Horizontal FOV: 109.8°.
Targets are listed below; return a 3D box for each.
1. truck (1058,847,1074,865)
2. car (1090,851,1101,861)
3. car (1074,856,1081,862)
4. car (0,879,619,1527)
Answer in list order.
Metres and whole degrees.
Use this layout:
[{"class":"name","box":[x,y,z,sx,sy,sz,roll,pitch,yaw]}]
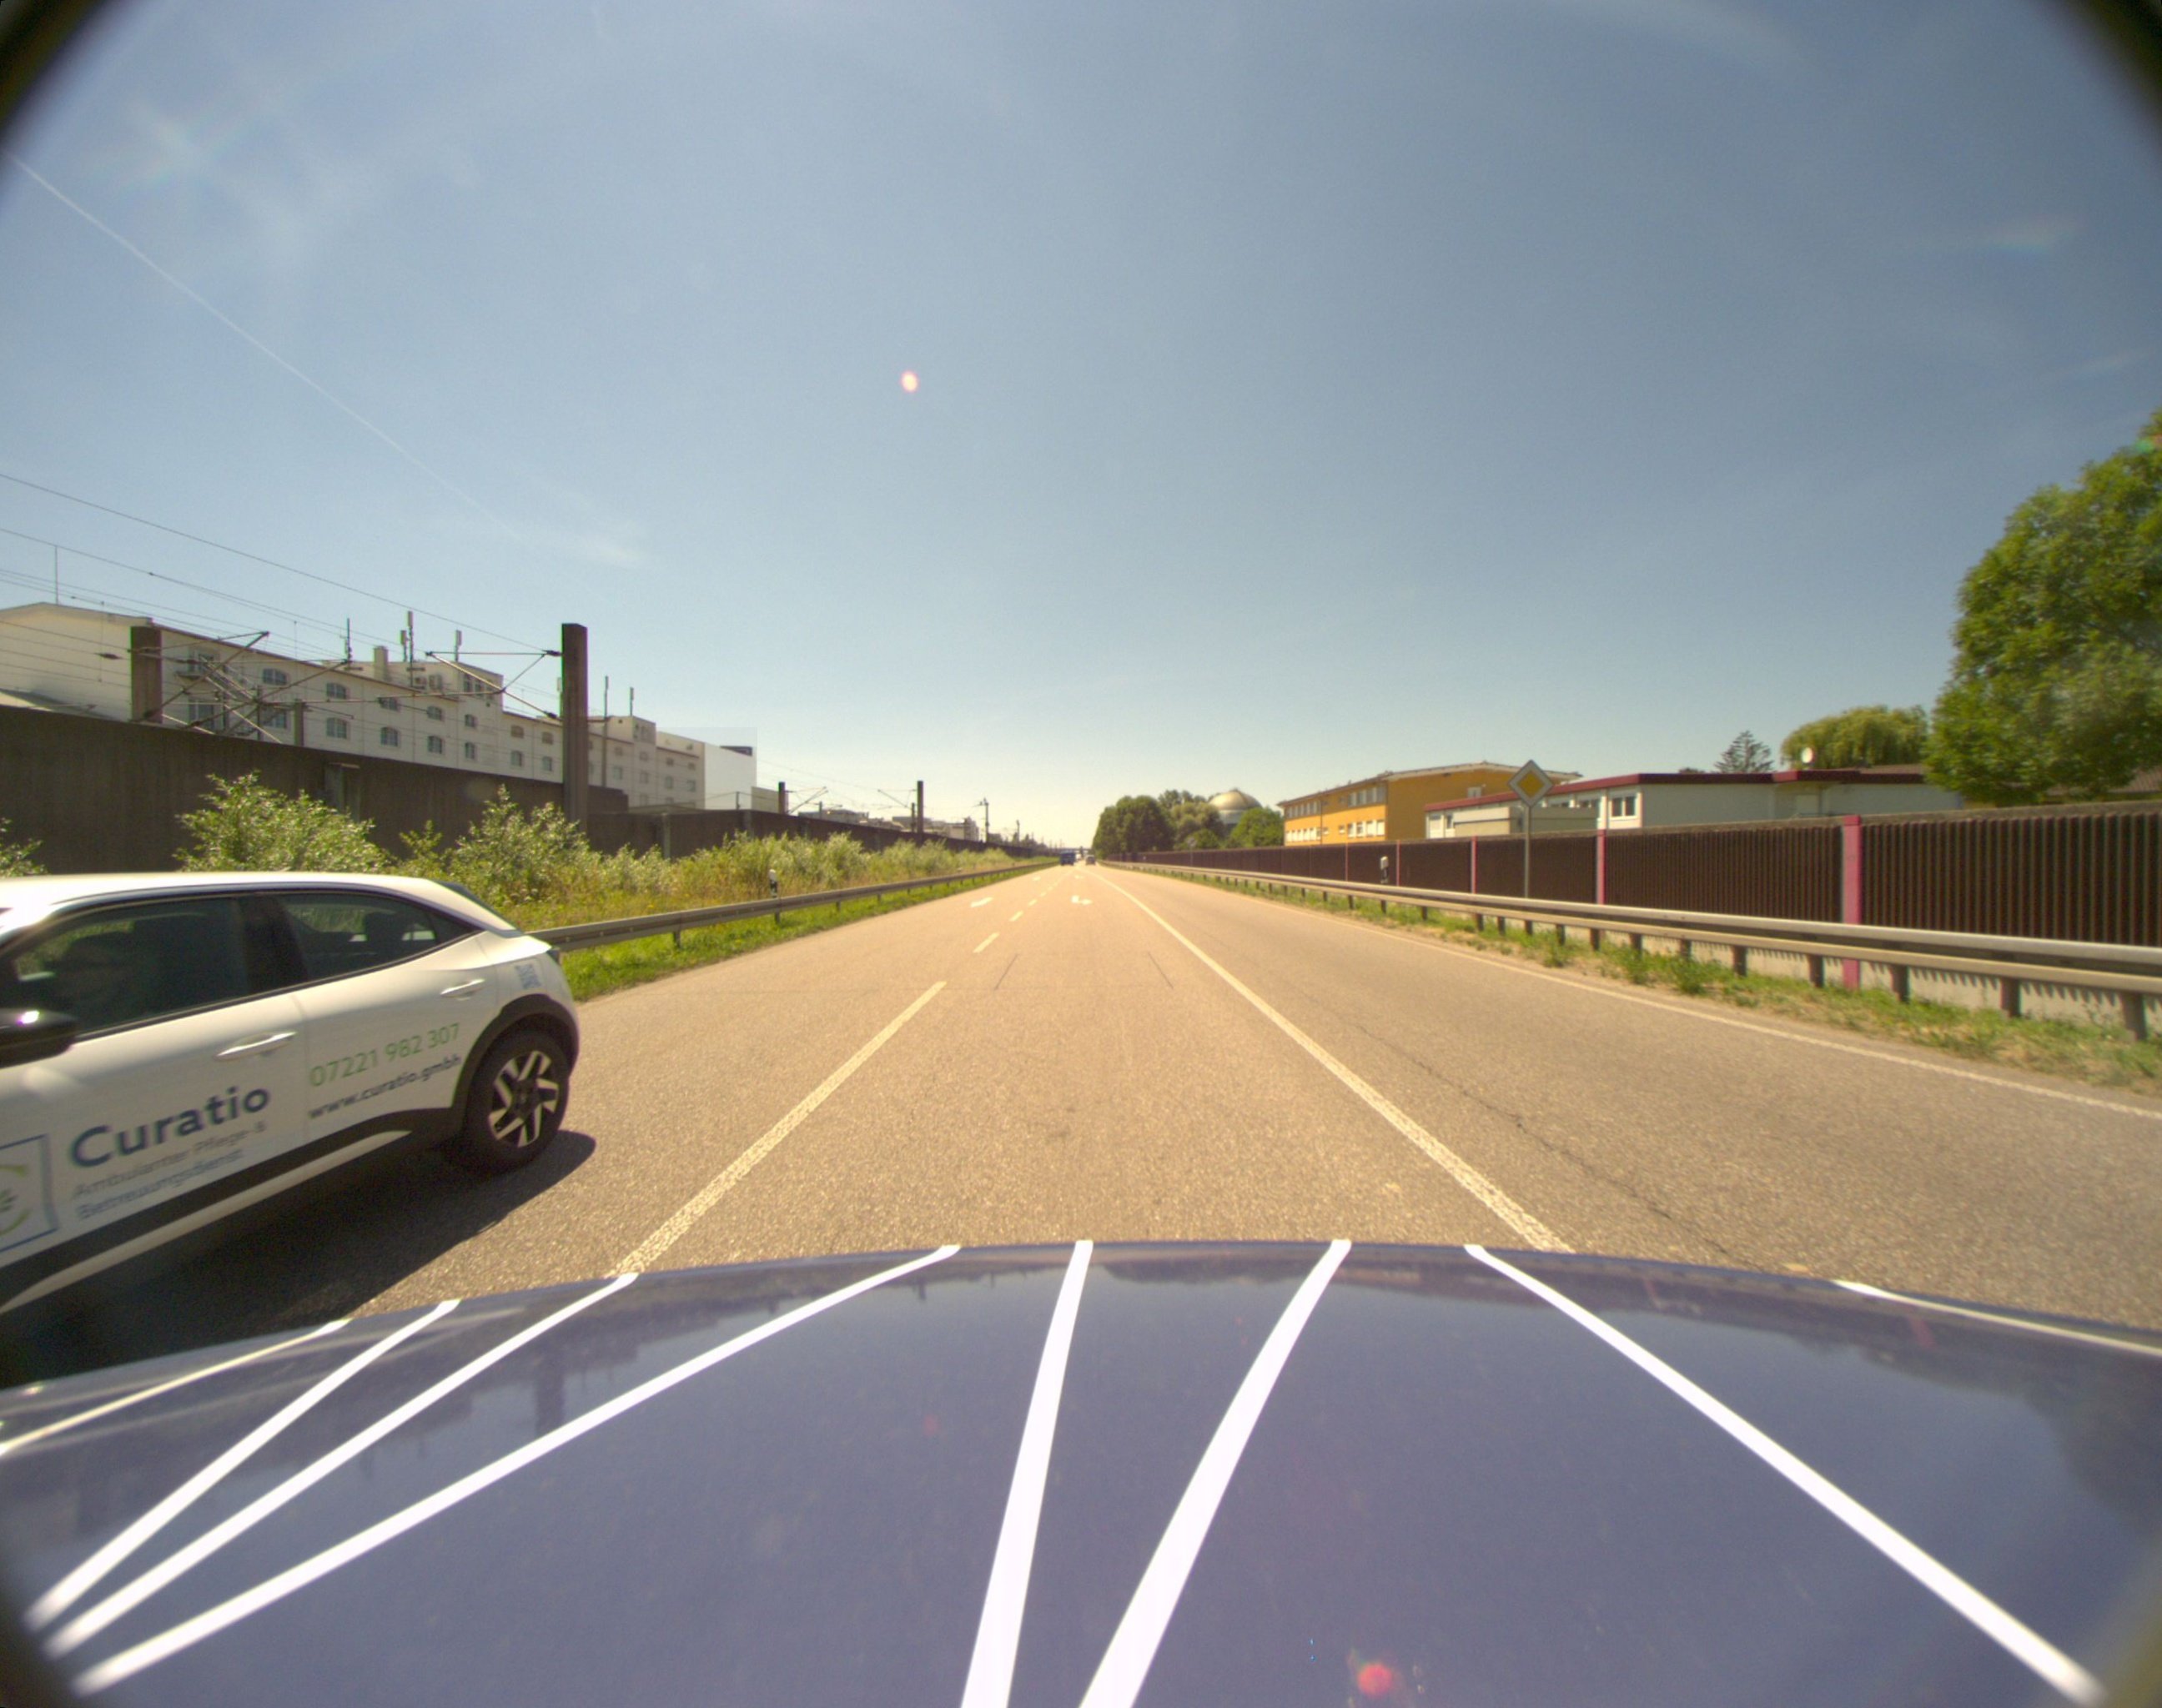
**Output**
[{"class":"truck","box":[-2.731,0.330,141.727,2.617,3.024,10.654,-1,0,0]},{"class":"car","box":[2.583,0.404,136.559,1.892,1.730,4.775,-1,0,-2]},{"class":"car","box":[-0.936,1.409,210.568,1.730,1.465,3.889,-1,0,-1]},{"class":"car","box":[-3.694,0.955,2.466,1.823,1.554,4.277,-1,0,-2]}]
